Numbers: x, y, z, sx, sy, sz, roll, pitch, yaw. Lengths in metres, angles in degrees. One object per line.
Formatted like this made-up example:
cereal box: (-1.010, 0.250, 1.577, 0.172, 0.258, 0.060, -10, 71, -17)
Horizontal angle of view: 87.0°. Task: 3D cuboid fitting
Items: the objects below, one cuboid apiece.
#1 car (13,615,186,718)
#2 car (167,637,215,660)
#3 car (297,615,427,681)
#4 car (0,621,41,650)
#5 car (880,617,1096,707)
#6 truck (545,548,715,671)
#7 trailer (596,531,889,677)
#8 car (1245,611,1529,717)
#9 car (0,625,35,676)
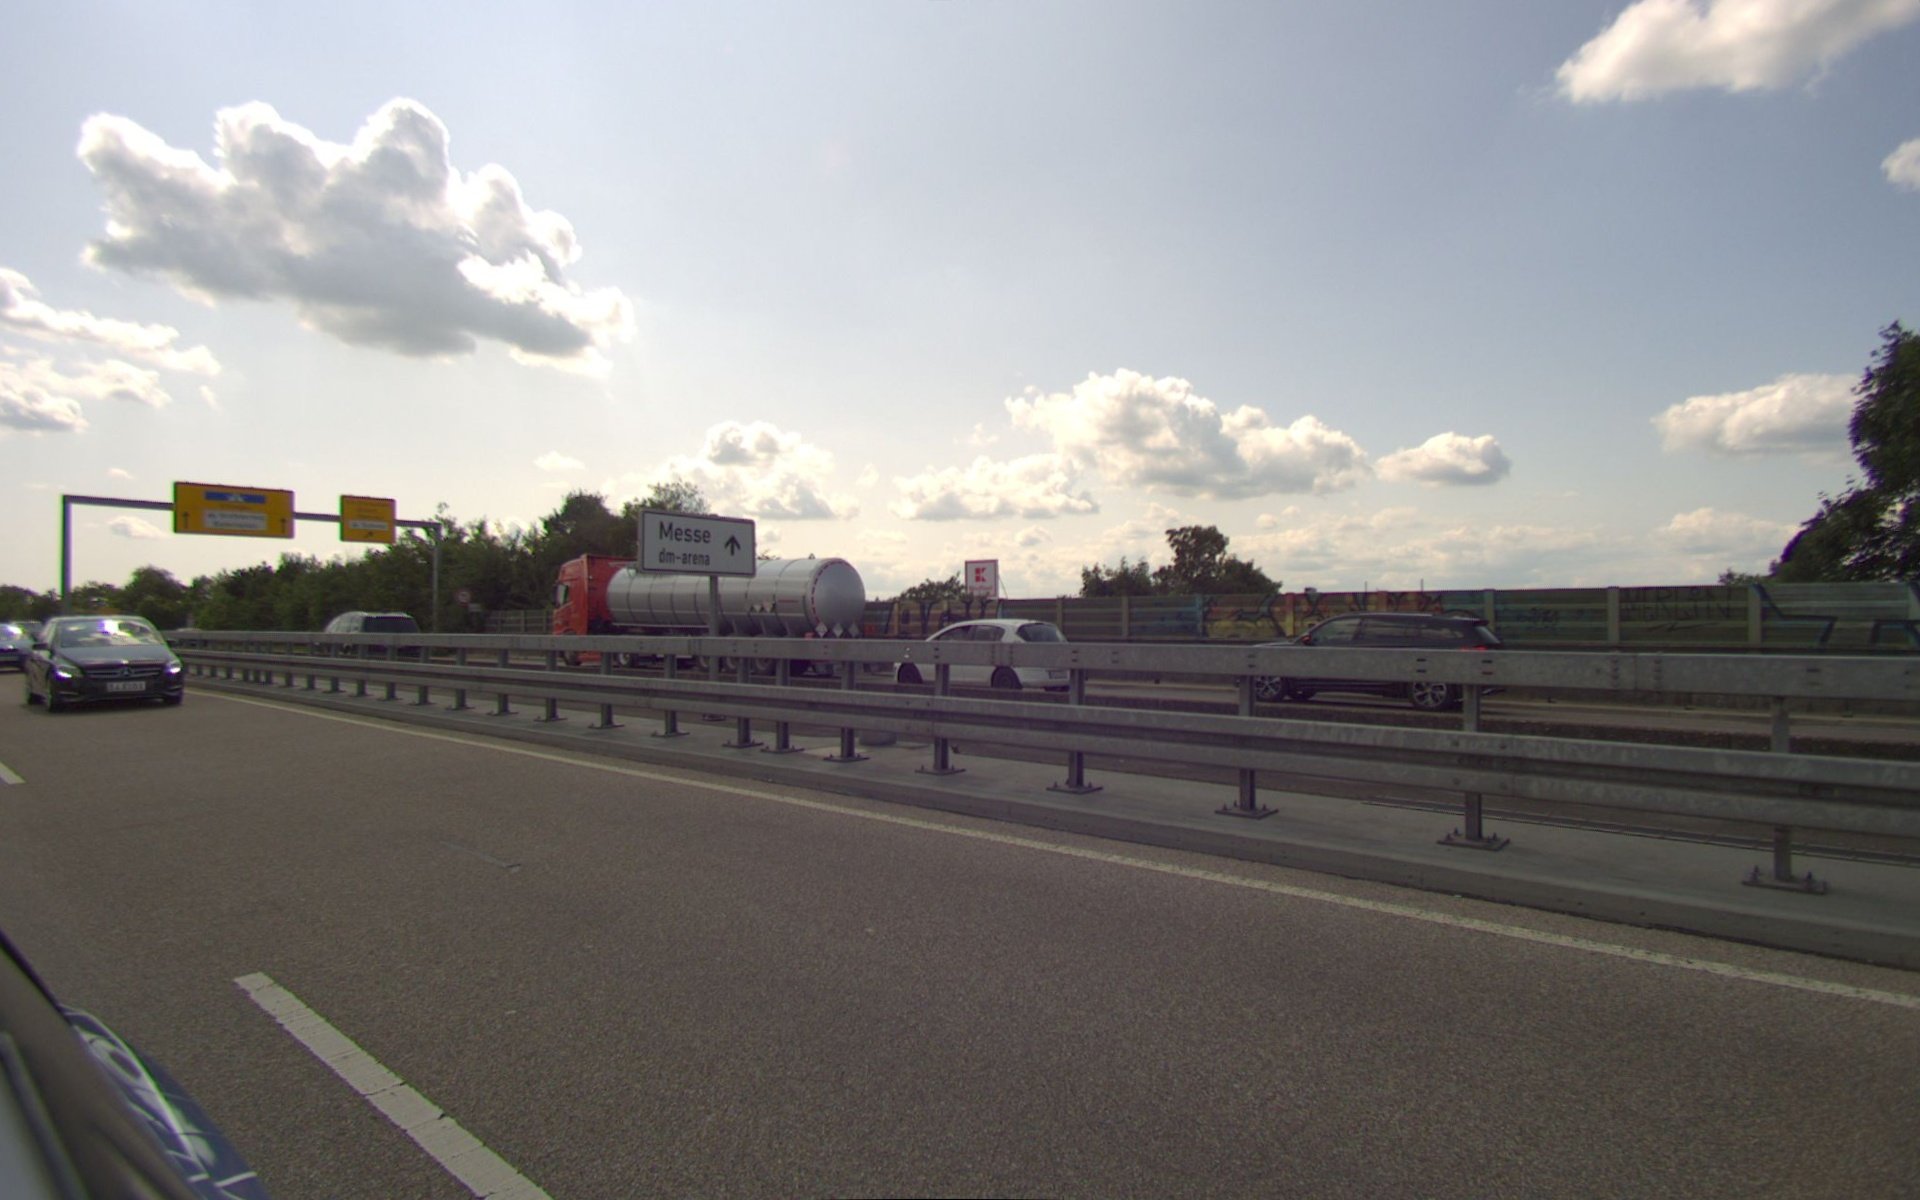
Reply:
car: (-15.116, 1.066, 17.693, 4.591, 1.539, 1.693, -1, 0, 42)
car: (-54.055, 3.361, 71.070, 4.397, 1.442, 1.672, -1, 0, 39)
car: (-17.766, 1.355, 29.979, 4.594, 1.763, 1.973, -1, 0, 41)
car: (-74.901, 2.796, 80.512, 5.228, 2.004, 2.057, 1, 0, 42)
car: (0.470, 1.108, 19.487, 3.958, 1.520, 1.764, -1, 0, 41)
truck: (-11.254, 0.314, 34.225, 6.229, 3.810, 2.621, -1, 0, 41)
trailer: (-6.919, 0.155, 30.347, 11.026, 3.697, 2.656, -1, 0, 42)
car: (7.383, 1.053, 17.752, 4.280, 1.632, 1.697, -1, -3, 41)
car: (-28.959, 1.501, 30.219, 3.770, 1.422, 1.604, -1, 0, 42)
